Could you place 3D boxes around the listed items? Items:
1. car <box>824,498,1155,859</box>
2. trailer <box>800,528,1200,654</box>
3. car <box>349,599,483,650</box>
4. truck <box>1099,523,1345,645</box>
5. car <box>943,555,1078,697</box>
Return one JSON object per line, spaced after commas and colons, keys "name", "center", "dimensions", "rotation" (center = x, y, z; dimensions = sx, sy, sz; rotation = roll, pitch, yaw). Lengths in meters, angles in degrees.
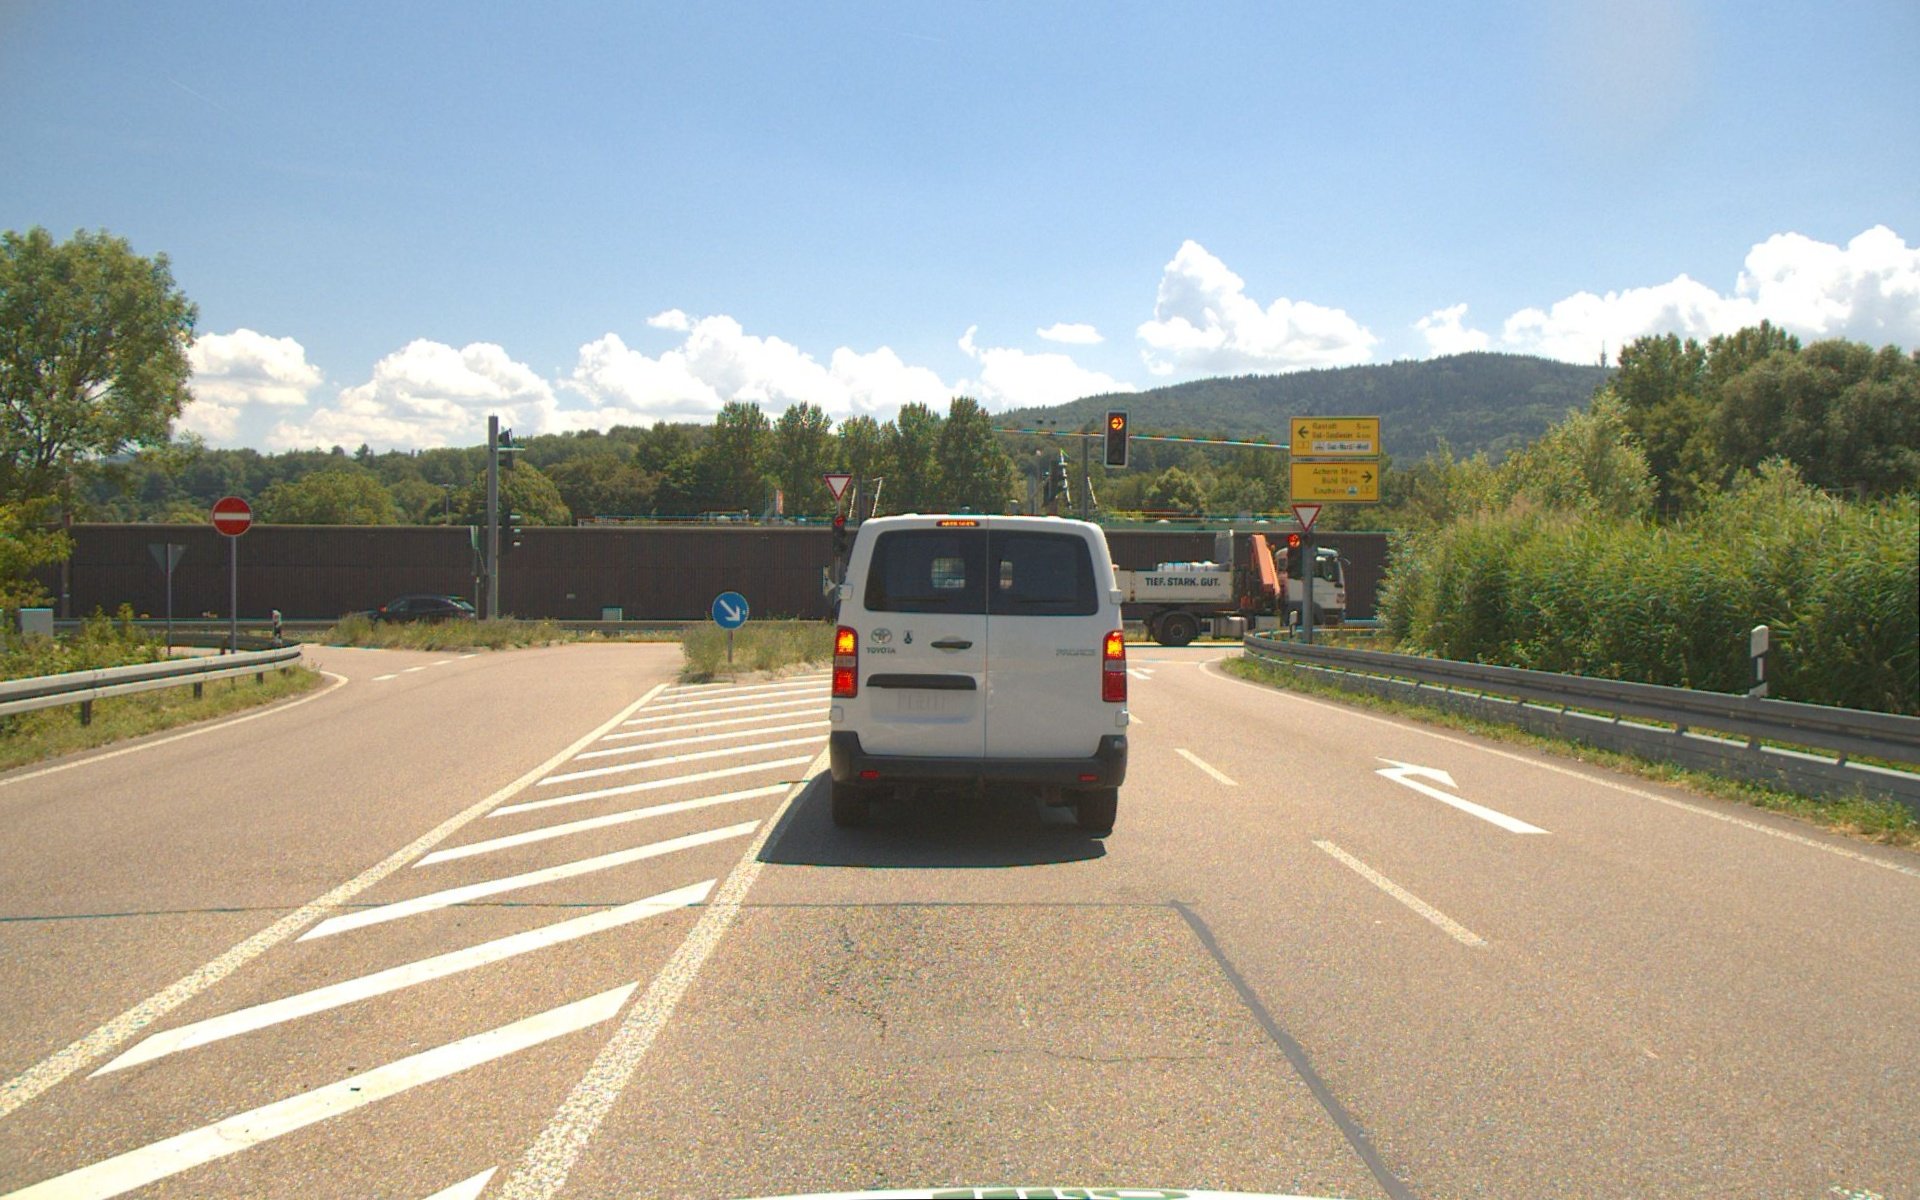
{"name": "car", "center": [0.137, 0.444, 11.269], "dimensions": [1.832, 1.999, 3.999], "rotation": [1, 0, -1]}
{"name": "trailer", "center": [1.190, -0.315, 51.145], "dimensions": [12.076, 3.565, 2.231], "rotation": [-1, 1, -4]}
{"name": "car", "center": [-18.856, 0.842, 57.486], "dimensions": [4.019, 1.500, 1.947], "rotation": [-3, 2, -6]}
{"name": "truck", "center": [8.114, -0.511, 51.599], "dimensions": [7.257, 3.565, 2.232], "rotation": [-1, 1, -3]}
{"name": "car", "center": [0.721, 0.387, 26.373], "dimensions": [1.953, 2.048, 3.999], "rotation": [-1, 0, -1]}
